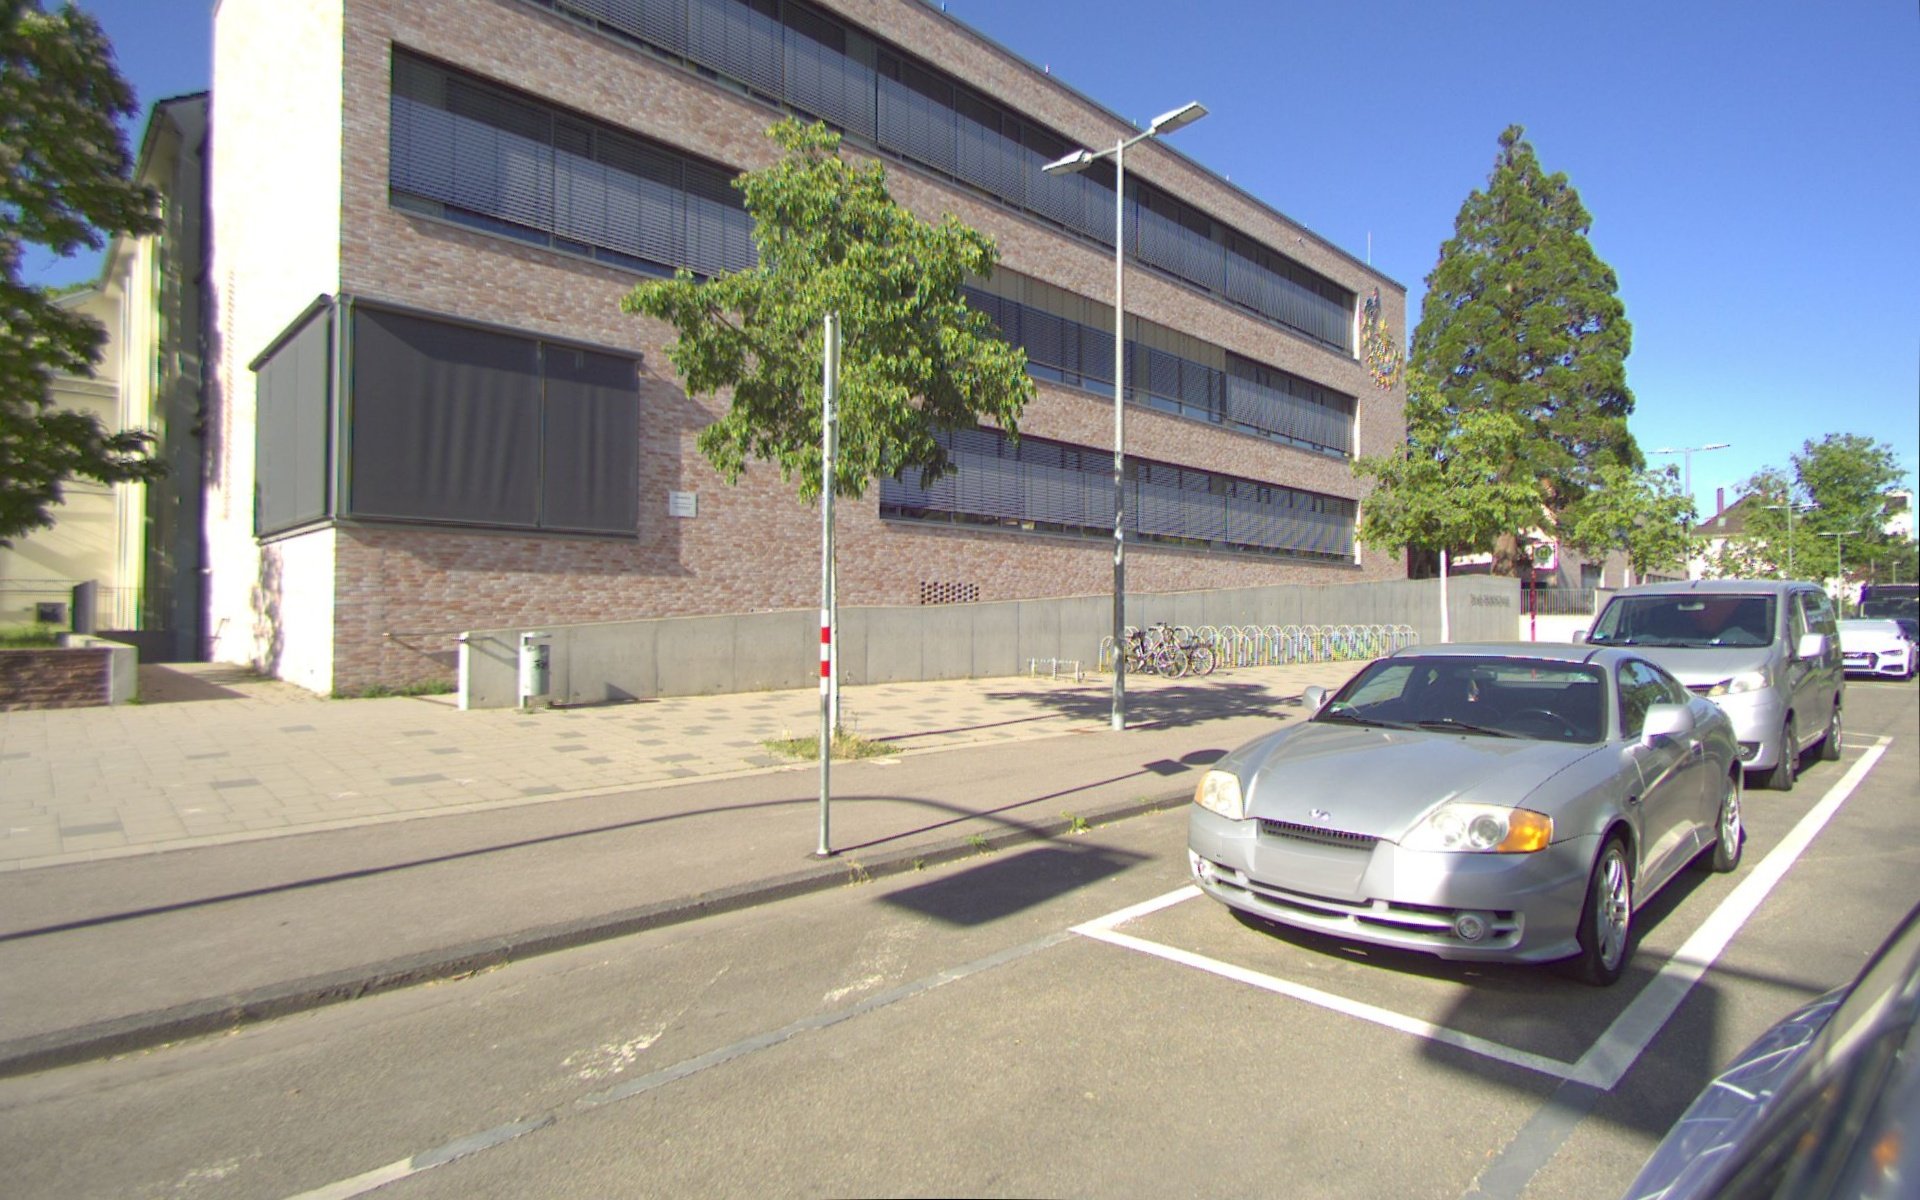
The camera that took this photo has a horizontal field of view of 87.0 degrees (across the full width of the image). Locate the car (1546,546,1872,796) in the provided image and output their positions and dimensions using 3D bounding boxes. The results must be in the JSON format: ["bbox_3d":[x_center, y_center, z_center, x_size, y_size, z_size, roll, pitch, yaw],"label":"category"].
[{"bbox_3d":[7.594,0.571,10.068,4.548,1.935,1.785,1,-1,-43],"label":"car"}]

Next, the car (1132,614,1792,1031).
[{"bbox_3d":[3.103,0.756,5.586,4.850,1.349,1.650,1,-1,-43],"label":"car"}]

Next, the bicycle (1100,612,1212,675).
[{"bbox_3d":[3.844,0.828,19.995,0.868,1.076,2.027,1,2,-44],"label":"bicycle"}]

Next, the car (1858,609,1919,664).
[{"bbox_3d":[26.320,0.974,28.087,3.857,1.438,1.712,1,-1,-43],"label":"car"}]

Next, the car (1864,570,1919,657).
[{"bbox_3d":[31.240,0.441,32.962,6.097,2.631,2.071,1,-1,-43],"label":"car"}]

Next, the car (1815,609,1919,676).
[{"bbox_3d":[21.672,0.935,23.876,3.971,1.438,1.822,1,-1,-43],"label":"car"}]

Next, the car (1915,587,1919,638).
[{"bbox_3d":[52.470,0.648,53.680,5.941,2.631,2.192,1,-1,-43],"label":"car"}]

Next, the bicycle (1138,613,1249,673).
[{"bbox_3d":[4.782,0.846,20.847,0.845,1.077,2.082,1,2,-43],"label":"bicycle"}]

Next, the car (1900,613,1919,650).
[{"bbox_3d":[39.090,1.246,40.606,3.857,1.438,1.712,1,-1,-43],"label":"car"}]
